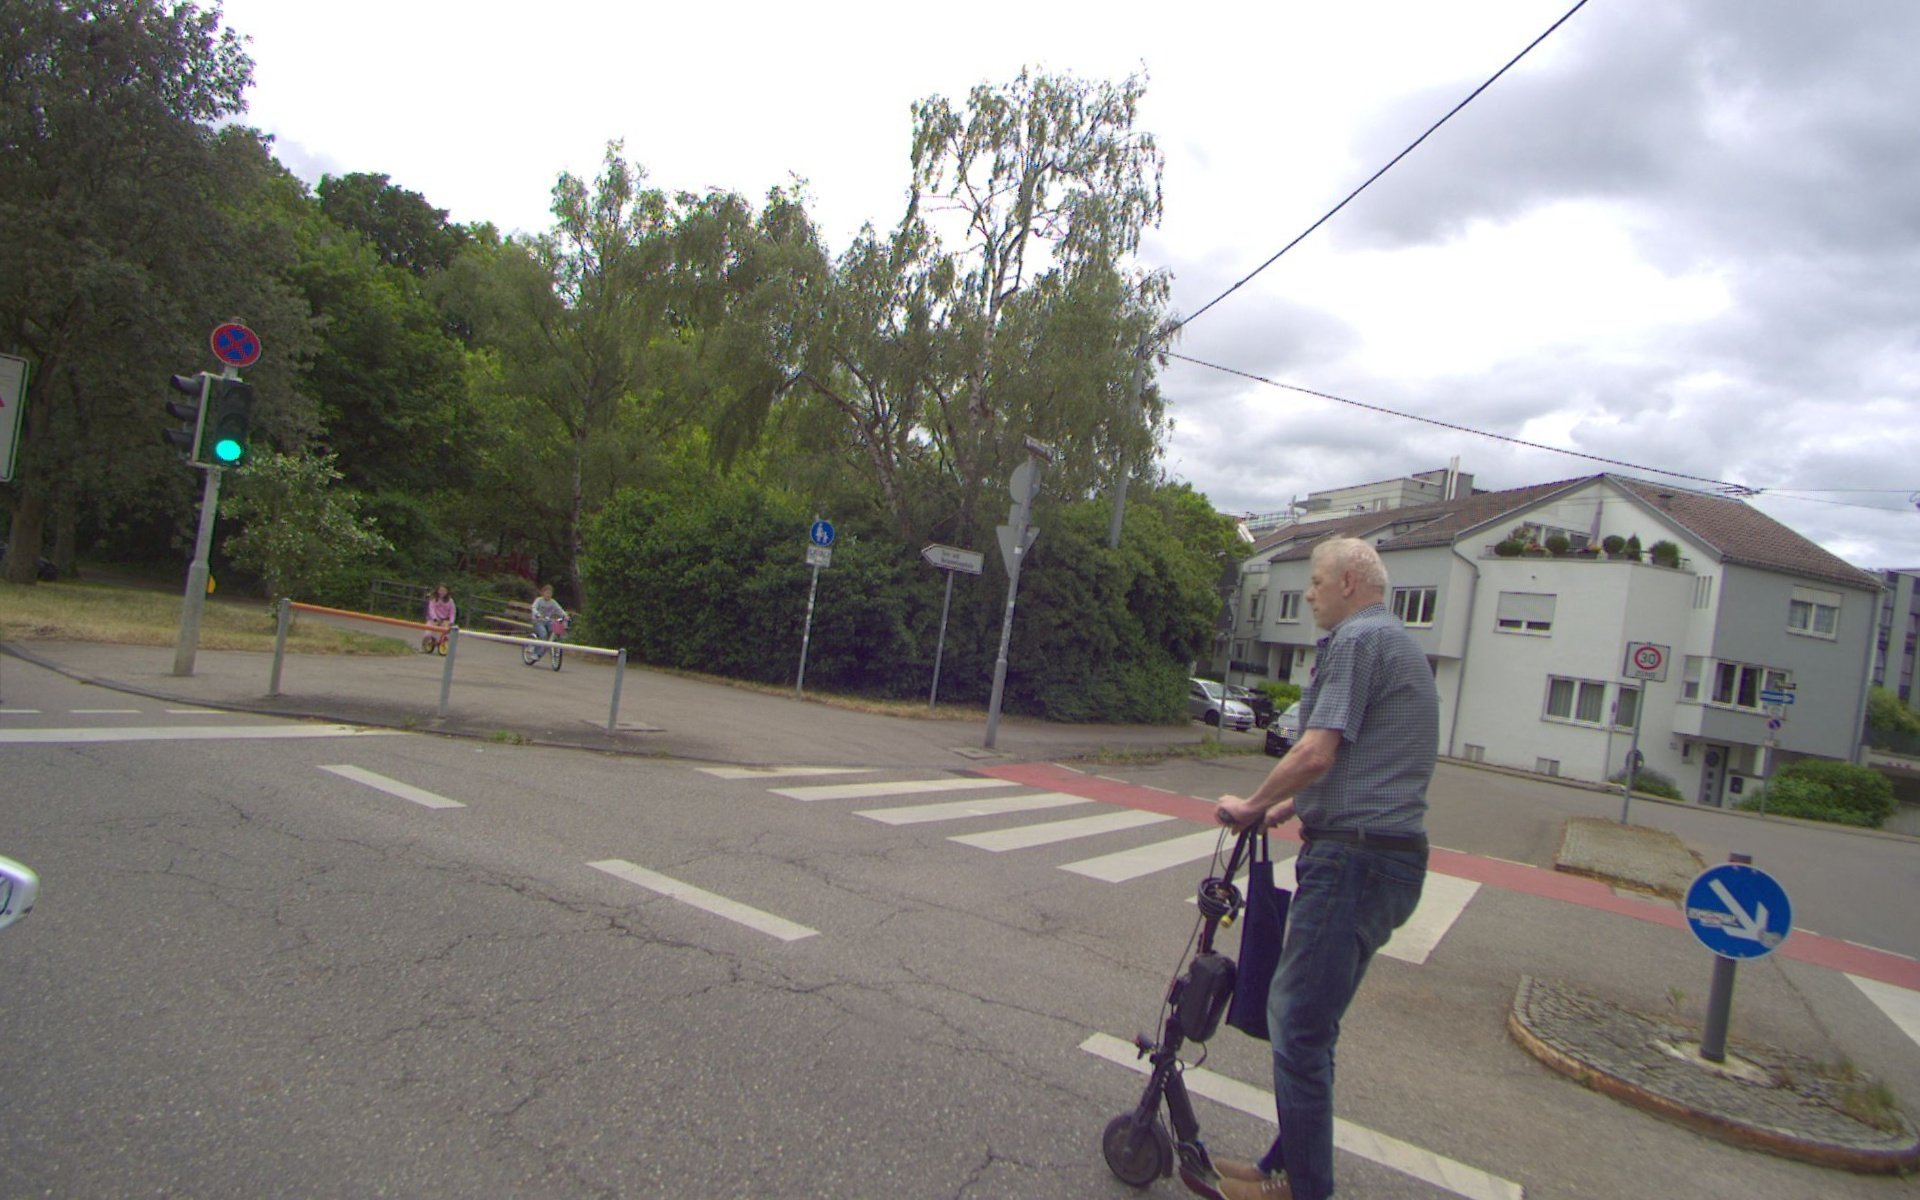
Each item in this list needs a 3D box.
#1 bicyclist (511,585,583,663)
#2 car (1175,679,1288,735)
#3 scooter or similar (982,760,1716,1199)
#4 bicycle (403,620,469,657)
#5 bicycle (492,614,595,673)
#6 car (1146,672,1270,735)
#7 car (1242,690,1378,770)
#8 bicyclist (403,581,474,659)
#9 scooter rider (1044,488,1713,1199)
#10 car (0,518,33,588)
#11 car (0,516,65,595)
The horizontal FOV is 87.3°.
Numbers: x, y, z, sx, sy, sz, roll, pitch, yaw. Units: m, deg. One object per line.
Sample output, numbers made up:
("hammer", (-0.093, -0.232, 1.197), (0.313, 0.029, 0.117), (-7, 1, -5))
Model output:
("bicyclist", (-6.775, 0.395, 16.518), (0.790, 1.175, 0.640), (6, -2, 32))
("car", (10.954, 4.314, 40.856), (1.919, 1.562, 4.027), (10, -3, -34))
("scooter or similar", (0.919, 1.152, 2.628), (1.433, 1.152, 0.684), (9, -1, 23))
("bicycle", (-8.747, 0.640, 16.787), (0.972, 0.503, 0.519), (5, -3, 32))
("bicycle", (-6.844, 0.713, 16.509), (1.653, 0.767, 0.640), (5, -2, 32))
("car", (8.266, 3.456, 33.751), (1.794, 1.503, 3.634), (10, -3, -36))
("car", (8.748, 3.204, 24.855), (2.005, 1.455, 4.794), (8, -2, 33))
("bicyclist", (-8.715, 0.332, 16.807), (0.952, 1.200, 0.519), (5, -2, 32))
("scooter rider", (1.007, 0.696, 2.605), (1.175, 1.750, 0.684), (9, -1, 23))
("car", (-22.729, -1.301, 21.349), (1.547, 1.492, 4.155), (7, -3, 18))
("car", (-20.823, -1.135, 20.279), (1.548, 1.492, 3.729), (7, -3, 26))
